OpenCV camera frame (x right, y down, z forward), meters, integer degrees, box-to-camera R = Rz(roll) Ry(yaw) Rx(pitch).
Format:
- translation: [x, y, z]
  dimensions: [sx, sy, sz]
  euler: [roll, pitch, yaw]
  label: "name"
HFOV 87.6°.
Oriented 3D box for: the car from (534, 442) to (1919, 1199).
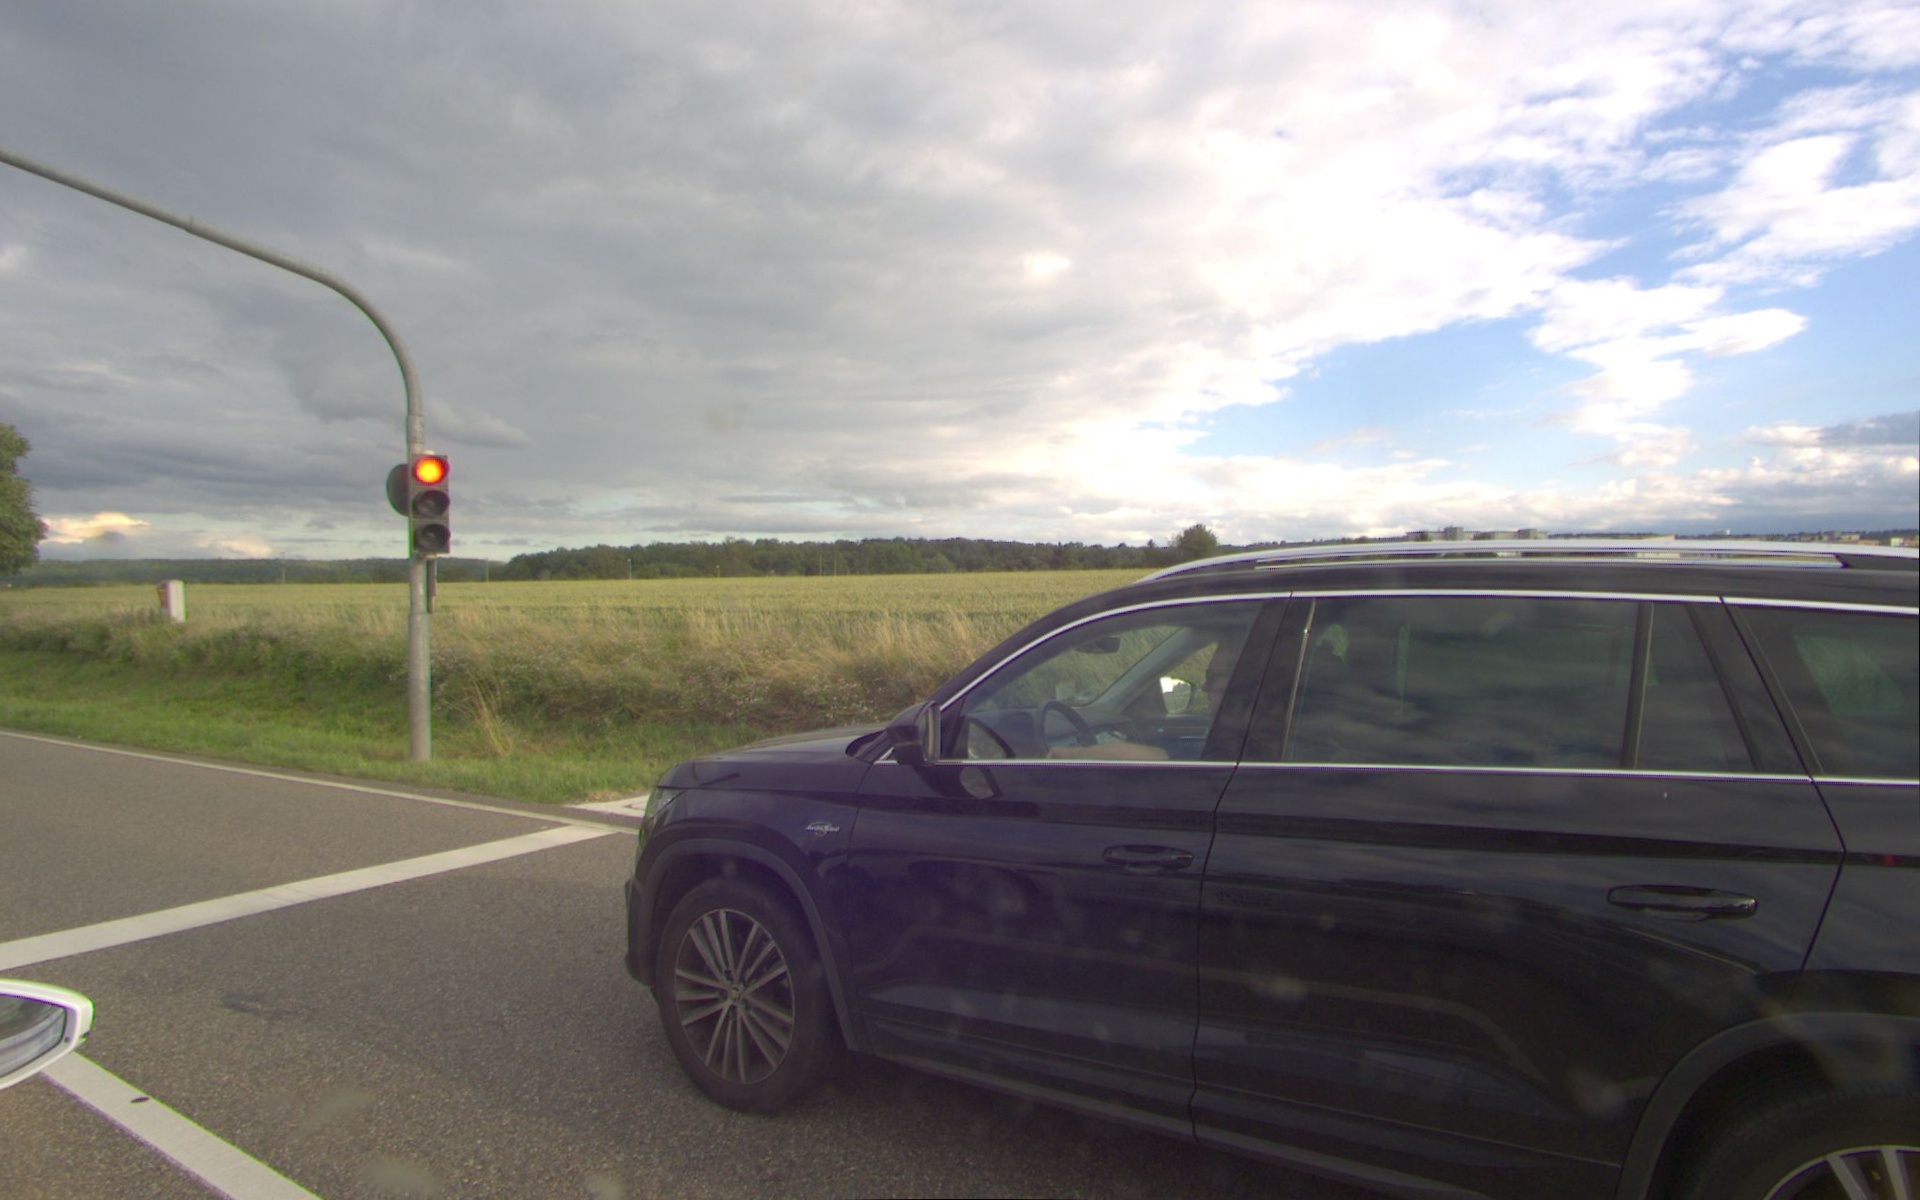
- translation: [0.881, 0.672, 3.088]
  dimensions: [4.492, 1.730, 1.833]
  euler: [-1, -2, 32]
  label: "car"
